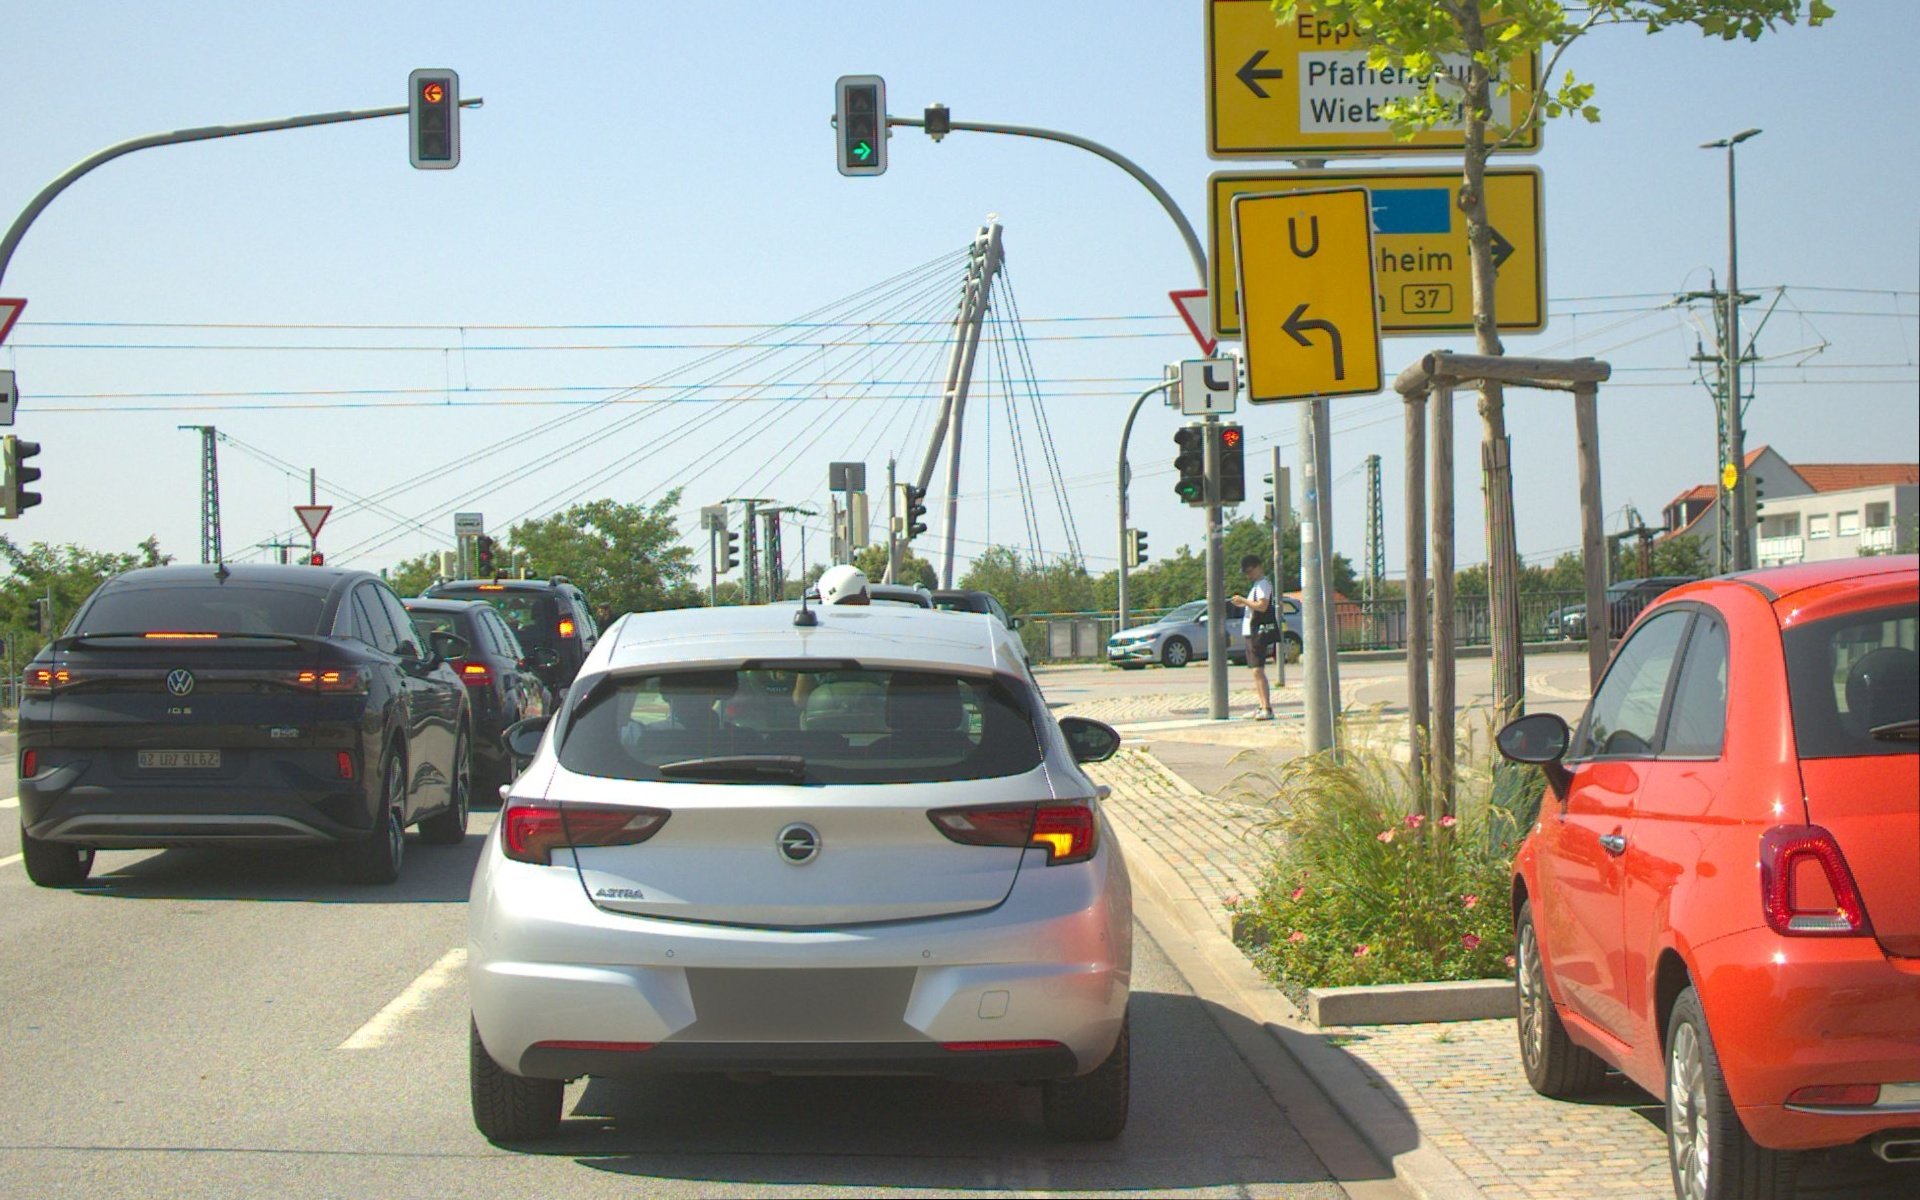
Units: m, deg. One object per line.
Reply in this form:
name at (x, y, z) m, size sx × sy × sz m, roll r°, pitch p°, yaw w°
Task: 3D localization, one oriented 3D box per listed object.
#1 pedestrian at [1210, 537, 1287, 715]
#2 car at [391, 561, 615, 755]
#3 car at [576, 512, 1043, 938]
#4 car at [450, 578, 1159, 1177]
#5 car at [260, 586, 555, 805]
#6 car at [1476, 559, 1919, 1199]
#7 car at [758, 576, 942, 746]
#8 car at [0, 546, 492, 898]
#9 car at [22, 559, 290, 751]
pedestrian at (3.042, 0.273, 36.295) m, size 0.647 × 1.830 × 0.798 m, roll -2°, pitch 0°, yaw -2°
car at (-4.030, 0.491, 30.773) m, size 1.649 × 1.610 × 3.820 m, roll 1°, pitch 0°, yaw -3°
car at (-0.674, 0.512, 17.065) m, size 1.993 × 1.814 × 4.402 m, roll 1°, pitch 1°, yaw -1°
car at (-0.487, 0.699, 10.557) m, size 1.742 × 1.473 × 4.000 m, roll 1°, pitch 0°, yaw -3°
car at (-3.879, 0.641, 24.653) m, size 1.575 × 1.429 × 3.786 m, roll 1°, pitch 0°, yaw -1°
car at (2.373, 0.657, 8.704) m, size 1.610 × 1.491 × 3.352 m, roll -2°, pitch 0°, yaw 1°
car at (-1.050, 0.563, 34.537) m, size 1.724 × 1.558 × 4.000 m, roll 1°, pitch 1°, yaw 0°
car at (-3.689, 0.546, 18.385) m, size 1.801 × 1.636 × 4.366 m, roll 1°, pitch 1°, yaw -1°
car at (-6.922, 0.457, 29.928) m, size 1.597 × 1.542 × 3.763 m, roll 1°, pitch 0°, yaw -3°
